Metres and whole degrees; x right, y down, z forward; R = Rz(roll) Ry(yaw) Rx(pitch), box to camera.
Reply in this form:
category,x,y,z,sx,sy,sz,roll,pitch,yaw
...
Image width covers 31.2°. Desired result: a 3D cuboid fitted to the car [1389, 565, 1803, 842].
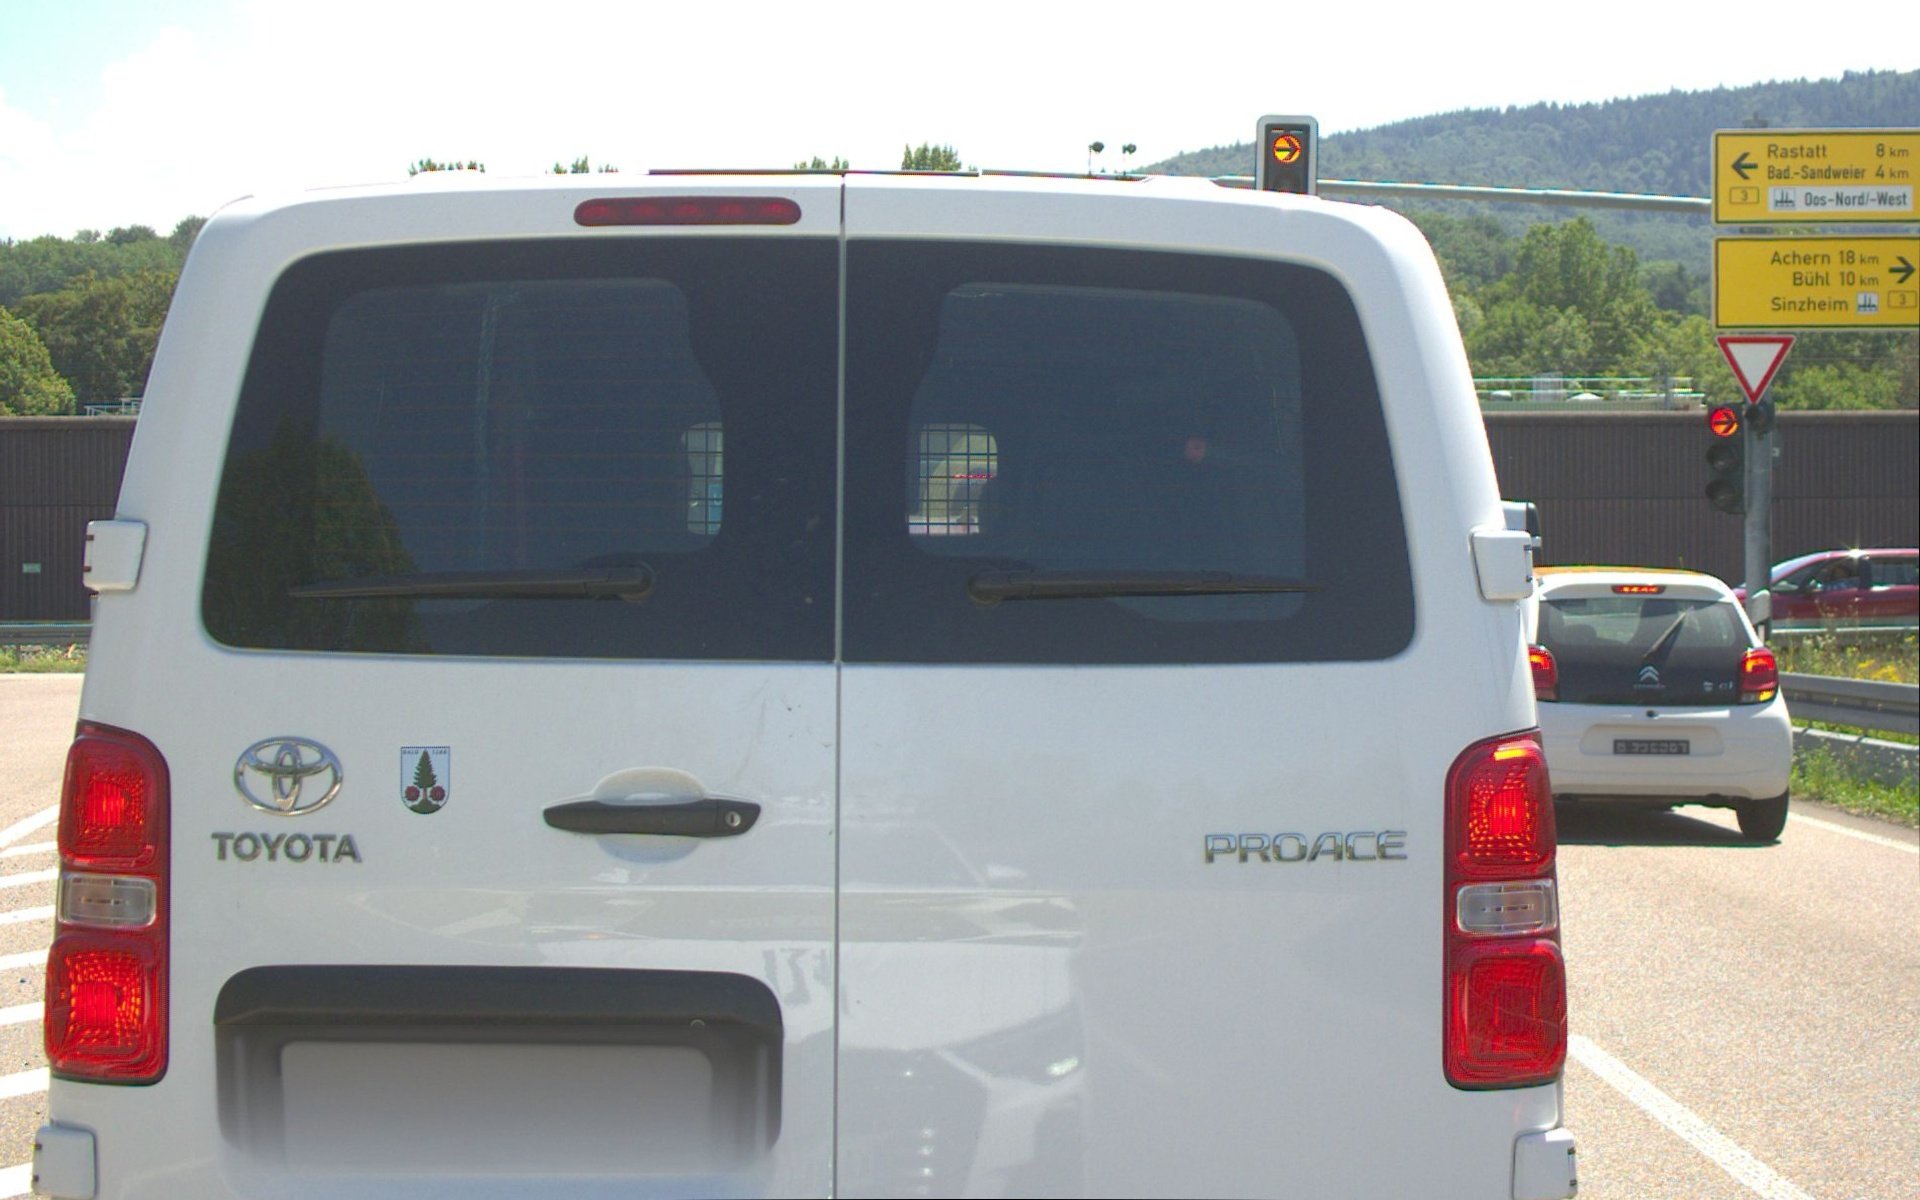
category,x,y,z,sx,sy,sz,roll,pitch,yaw
car,3.534,0.526,19.645,1.656,1.426,3.366,1,1,-1

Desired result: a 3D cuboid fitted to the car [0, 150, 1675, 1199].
category,x,y,z,sx,sy,sz,roll,pitch,yaw
car,-0.226,0.449,5.684,1.886,1.880,4.000,1,1,-1

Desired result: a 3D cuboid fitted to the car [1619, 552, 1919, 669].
category,x,y,z,sx,sy,sz,roll,pitch,yaw
car,11.940,0.142,49.847,4.309,1.651,2.000,0,1,-3

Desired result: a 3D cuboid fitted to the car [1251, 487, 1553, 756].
category,x,y,z,sx,sy,sz,roll,pitch,yaw
car,3.521,0.136,28.223,1.928,1.993,4.837,1,1,1
